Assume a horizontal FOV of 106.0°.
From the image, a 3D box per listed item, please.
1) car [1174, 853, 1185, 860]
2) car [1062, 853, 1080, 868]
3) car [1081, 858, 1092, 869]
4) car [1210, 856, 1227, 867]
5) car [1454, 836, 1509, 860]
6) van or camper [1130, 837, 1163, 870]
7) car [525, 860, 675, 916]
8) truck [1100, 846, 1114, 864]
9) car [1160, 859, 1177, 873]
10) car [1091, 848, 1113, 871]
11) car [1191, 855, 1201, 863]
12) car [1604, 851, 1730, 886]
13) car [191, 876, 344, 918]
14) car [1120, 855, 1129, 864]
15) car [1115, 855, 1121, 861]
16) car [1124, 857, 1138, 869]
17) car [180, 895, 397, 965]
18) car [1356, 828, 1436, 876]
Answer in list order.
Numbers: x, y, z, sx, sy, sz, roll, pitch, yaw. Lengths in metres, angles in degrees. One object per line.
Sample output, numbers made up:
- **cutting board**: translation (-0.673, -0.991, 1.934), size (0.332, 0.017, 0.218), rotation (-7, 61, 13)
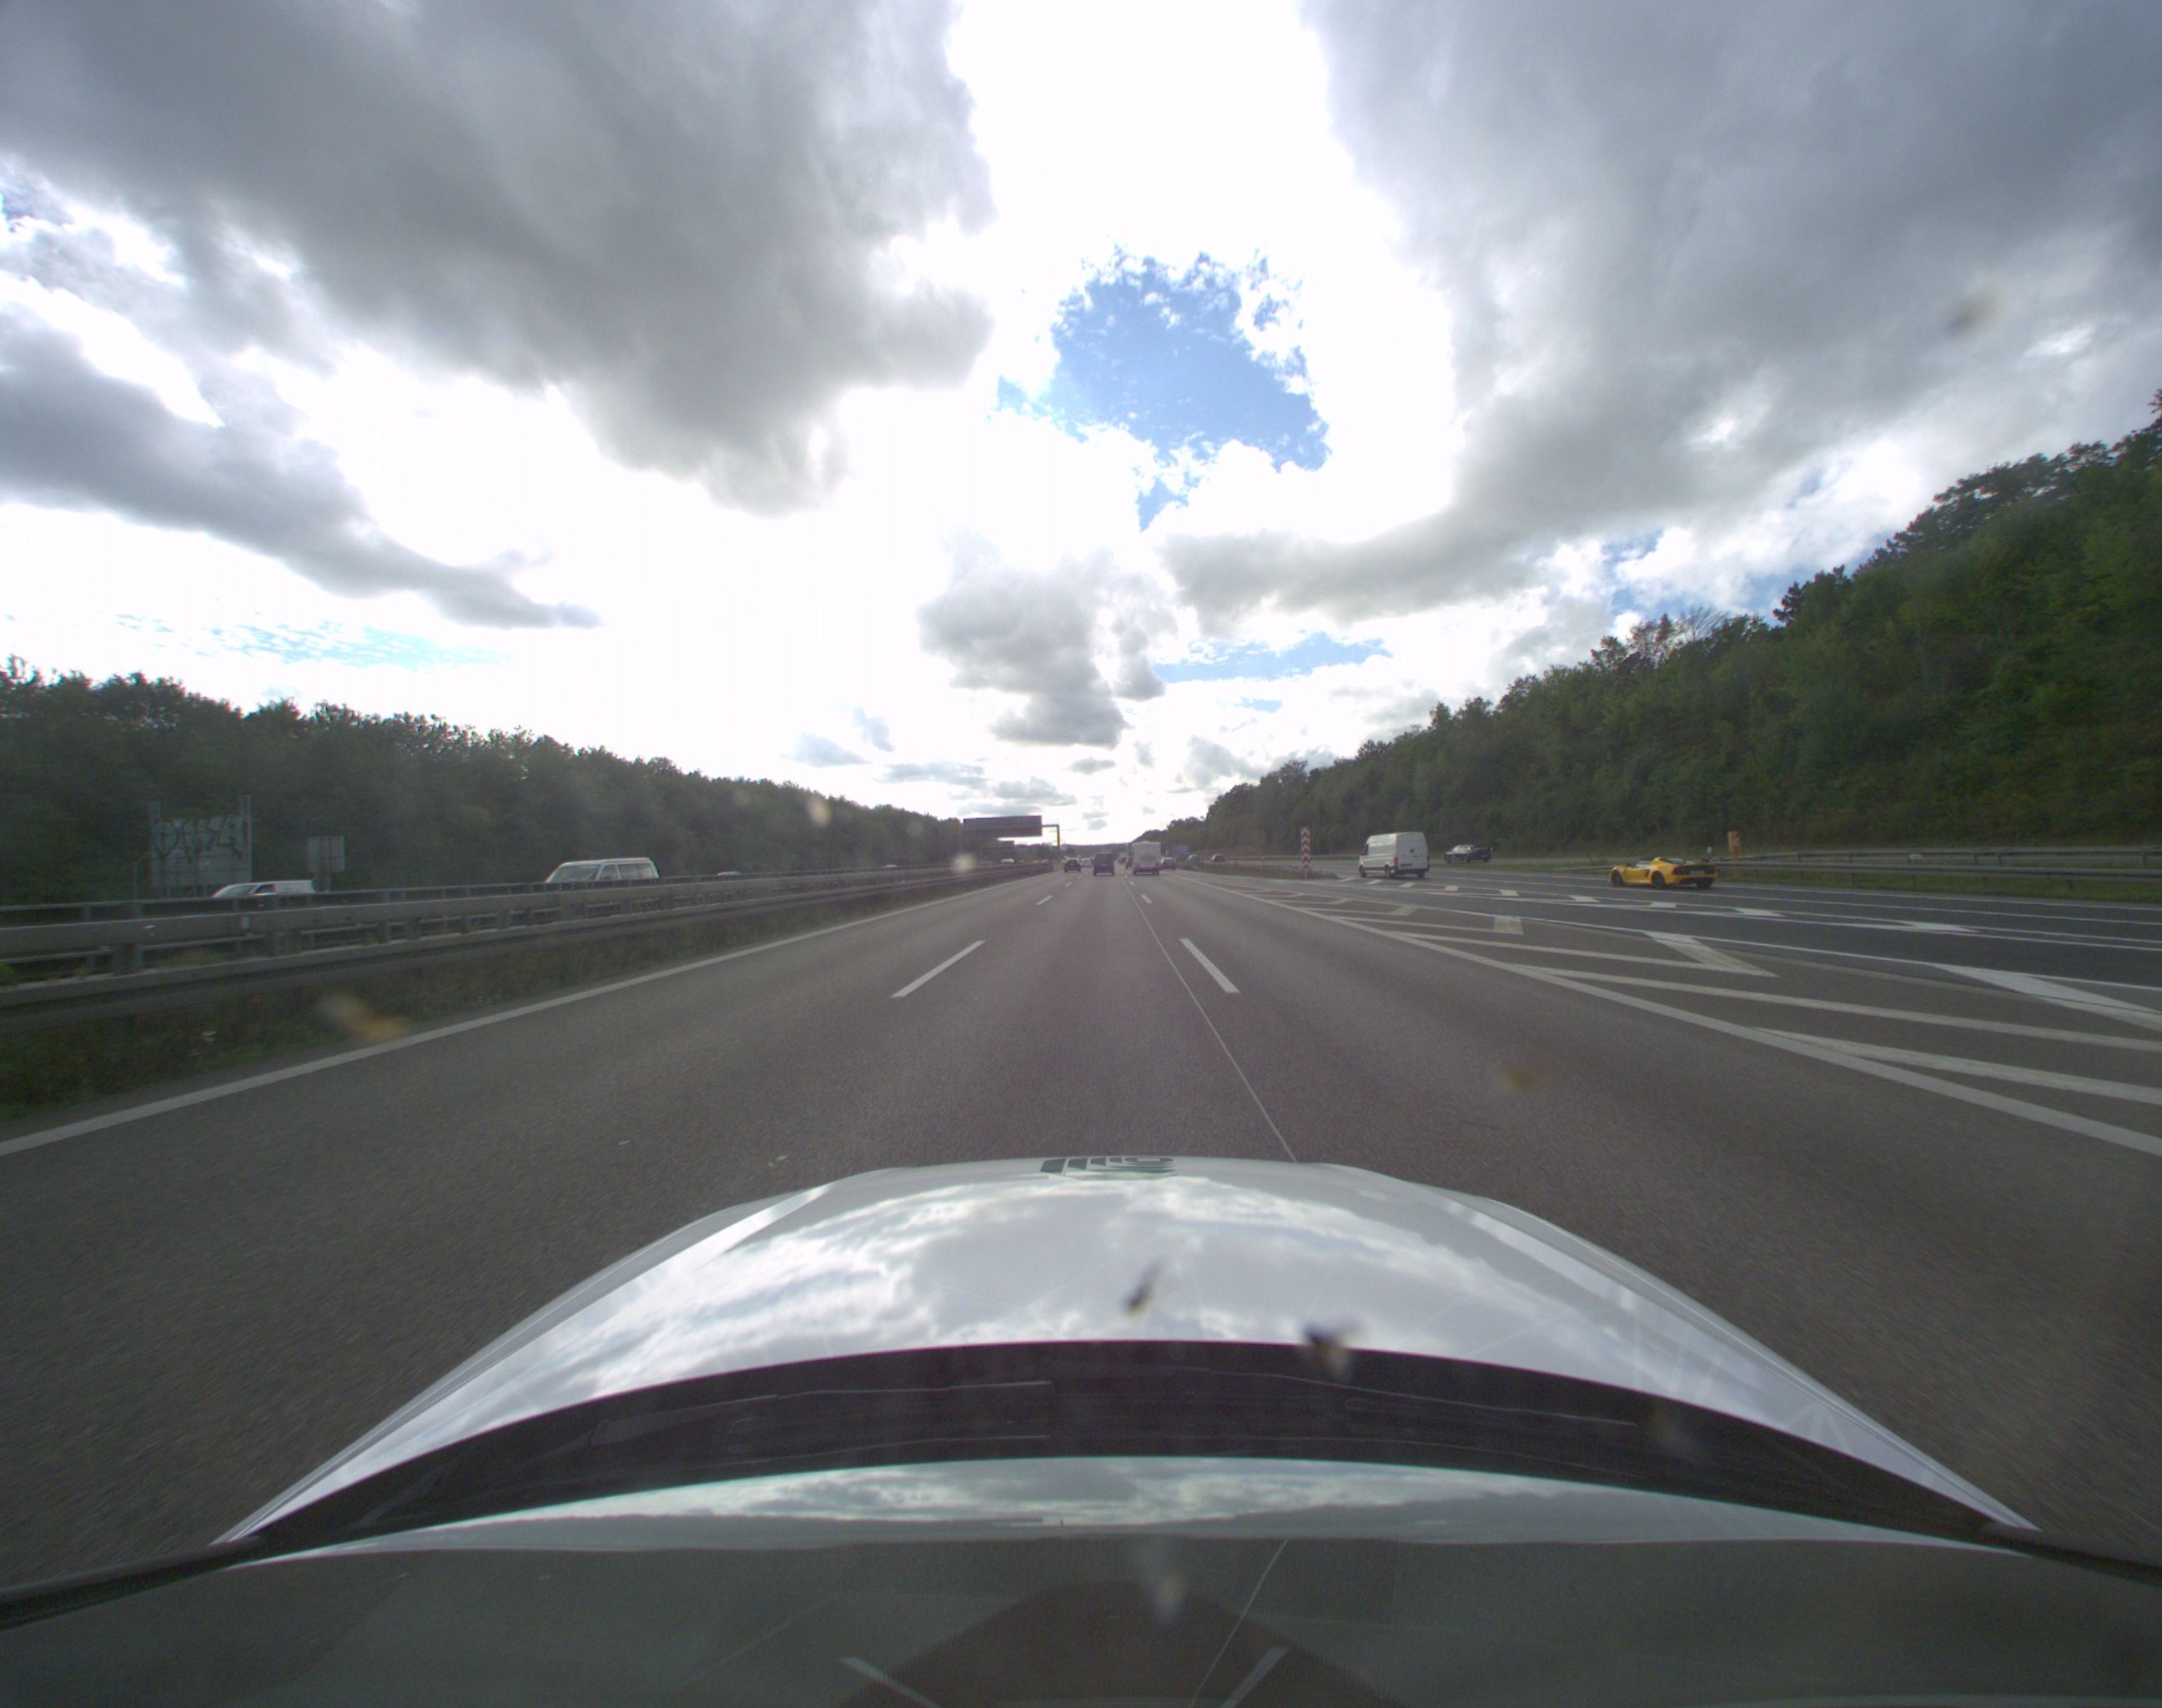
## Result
- **car**: translation (23.338, 0.551, 193.307), size (1.837, 1.484, 4.525), rotation (-4, 0, 0)
- **car**: translation (-1.081, 0.749, 92.626), size (1.866, 1.698, 4.073), rotation (-2, -1, 1)
- **car**: translation (0.913, 1.440, 126.368), size (1.691, 1.611, 4.114), rotation (-2, 0, 1)
- **car**: translation (20.864, 1.106, 123.750), size (1.836, 1.484, 4.527), rotation (-4, 0, 2)
- **car**: translation (30.766, -0.442, 62.675), size (1.837, 1.602, 4.764), rotation (-4, 0, 1)
- **van or camper**: translation (5.727, -0.028, 71.987), size (2.460, 2.722, 7.663), rotation (-1, 0, 1)
- **car**: translation (-15.868, 1.046, 27.258), size (1.803, 1.636, 5.012), rotation (-1, 0, 3)
- **truck**: translation (6.544, 0.331, 203.300), size (3.250, 4.375, 11.030), rotation (-1, 0, 2)
- **car**: translation (10.349, 1.380, 96.421), size (1.691, 1.611, 3.896), rotation (-2, 0, 1)
- **car**: translation (1.851, 0.471, 71.748), size (1.848, 1.910, 4.261), rotation (-1, 0, 1)
- **car**: translation (22.214, 1.001, 157.304), size (1.535, 1.484, 3.943), rotation (-4, 0, 2)
- **car**: translation (21.367, 0.504, 29.928), size (1.706, 1.181, 4.169), rotation (-1, 0, 1)
- **car**: translation (-36.523, 1.868, 36.796), size (1.764, 1.577, 5.013), rotation (-2, 0, 1)
- **car**: translation (9.943, 1.243, 187.618), size (1.906, 1.919, 4.031), rotation (-1, 0, 1)
- **car**: translation (11.124, 1.265, 243.042), size (1.746, 1.695, 4.191), rotation (-1, -1, 1)
- **car**: translation (6.725, 1.180, 109.750), size (1.691, 1.564, 4.114), rotation (-2, 0, 1)
- **car**: translation (-19.970, 1.856, 20.782), size (1.578, 1.419, 3.851), rotation (-1, 0, 4)
- **car**: translation (18.330, -0.099, 47.844), size (2.063, 2.554, 6.743), rotation (-2, 0, 1)
